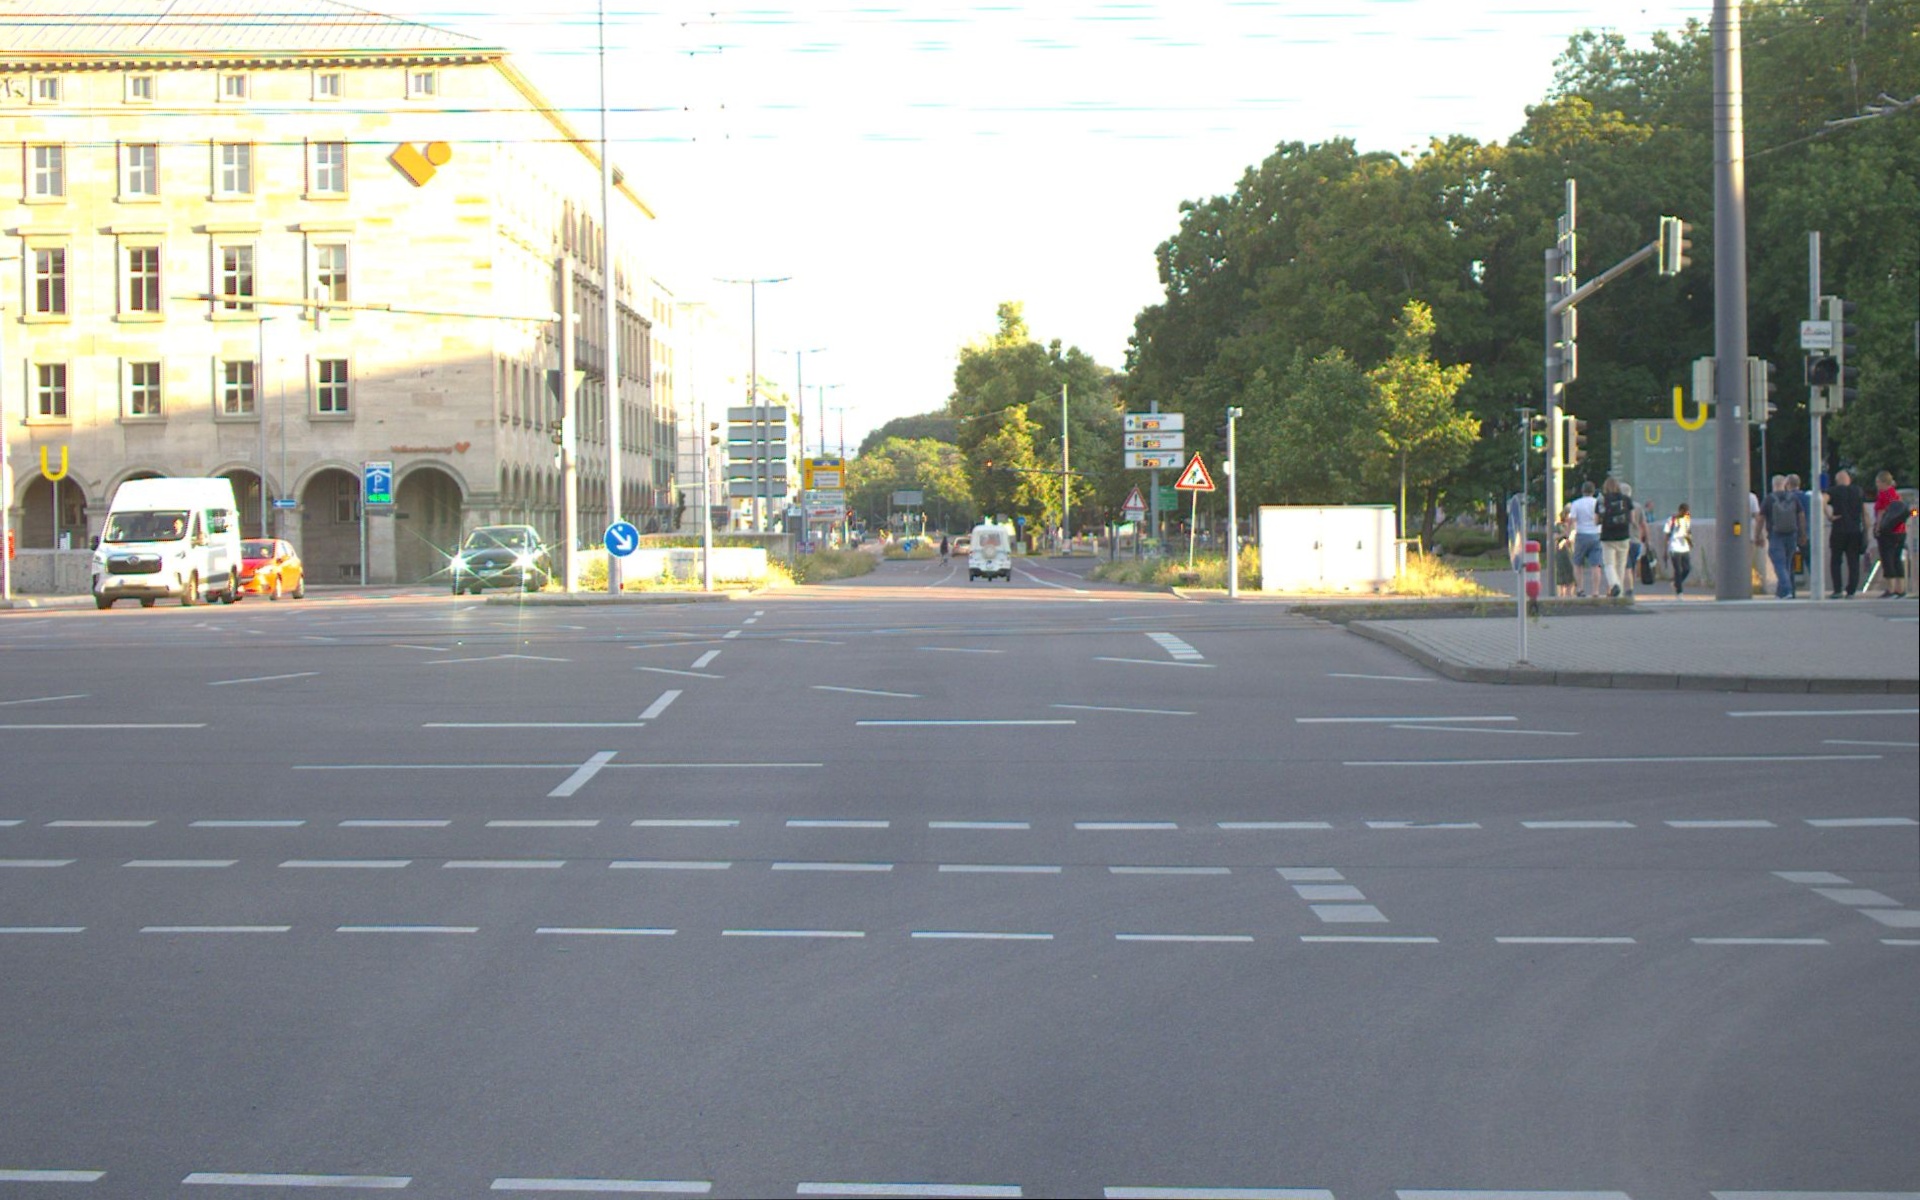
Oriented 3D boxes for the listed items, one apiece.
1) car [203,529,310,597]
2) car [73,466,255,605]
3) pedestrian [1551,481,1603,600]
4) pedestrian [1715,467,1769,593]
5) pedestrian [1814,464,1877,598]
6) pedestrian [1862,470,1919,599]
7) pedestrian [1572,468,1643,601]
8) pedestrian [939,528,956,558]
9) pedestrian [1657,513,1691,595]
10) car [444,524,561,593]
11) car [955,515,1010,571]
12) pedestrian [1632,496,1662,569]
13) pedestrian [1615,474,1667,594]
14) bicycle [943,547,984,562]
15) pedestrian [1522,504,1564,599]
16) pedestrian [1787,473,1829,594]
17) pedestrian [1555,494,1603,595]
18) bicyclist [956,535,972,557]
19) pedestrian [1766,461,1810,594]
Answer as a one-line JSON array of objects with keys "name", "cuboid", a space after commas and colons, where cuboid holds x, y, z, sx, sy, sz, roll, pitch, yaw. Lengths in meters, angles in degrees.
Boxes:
[{"name": "car", "cuboid": [-16.555, -0.900, 81.102, 1.738, 1.482, 4.001, -1, 2, -1]}, {"name": "car", "cuboid": [-16.699, -1.383, 72.477, 2.279, 2.766, 6.084, -1, 2, 1]}, {"name": "pedestrian", "cuboid": [8.987, -0.868, 50.061, 0.711, 1.719, 0.668, 0, 2, 14]}, {"name": "pedestrian", "cuboid": [10.796, -0.971, 47.466, 0.711, 1.719, 0.914, 0, 2, 12]}, {"name": "pedestrian", "cuboid": [11.905, -0.928, 46.239, 0.805, 1.785, 0.800, 0, 2, 14]}, {"name": "pedestrian", "cuboid": [12.647, -0.893, 46.479, 0.845, 1.728, 0.705, 0, 2, 12]}, {"name": "pedestrian", "cuboid": [8.521, -0.866, 45.227, 0.712, 1.719, 0.914, 0, 2, 24]}, {"name": "pedestrian", "cuboid": [-0.725, -3.200, 194.442, 0.906, 1.665, 1.307, -1, 2, -1]}, {"name": "pedestrian", "cuboid": [12.648, -0.821, 60.923, 0.572, 1.433, 0.638, 0, 2, 11]}, {"name": "car", "cuboid": [-9.639, -0.895, 72.662, 1.823, 1.337, 4.000, -1, 2, 2]}, {"name": "car", "cuboid": [0.693, -1.800, 107.853, 1.483, 1.690, 2.974, -1, 2, -4]}, {"name": "pedestrian", "cuboid": [17.388, -1.716, 87.003, 0.666, 1.836, 0.713, -1, 2, 5]}, {"name": "pedestrian", "cuboid": [9.895, -0.962, 49.963, 0.711, 1.719, 0.668, 0, 2, 13]}, {"name": "bicycle", "cuboid": [0.253, -2.946, 222.950, 2.601, 0.955, 0.515, 1, 0, -15]}, {"name": "pedestrian", "cuboid": [10.295, -0.859, 60.696, 0.560, 1.649, 0.901, 0, 2, 20]}, {"name": "pedestrian", "cuboid": [11.826, -0.930, 47.955, 0.572, 1.673, 0.638, 0, 2, 14]}, {"name": "pedestrian", "cuboid": [10.893, -0.977, 60.457, 0.680, 1.751, 0.901, 0, 2, 20]}, {"name": "bicyclist", "cuboid": [0.254, -3.508, 222.961, 0.830, 1.458, 0.661, -1, 2, -15]}, {"name": "pedestrian", "cuboid": [11.217, -0.980, 46.581, 0.572, 1.785, 0.638, 0, 2, 14]}]
